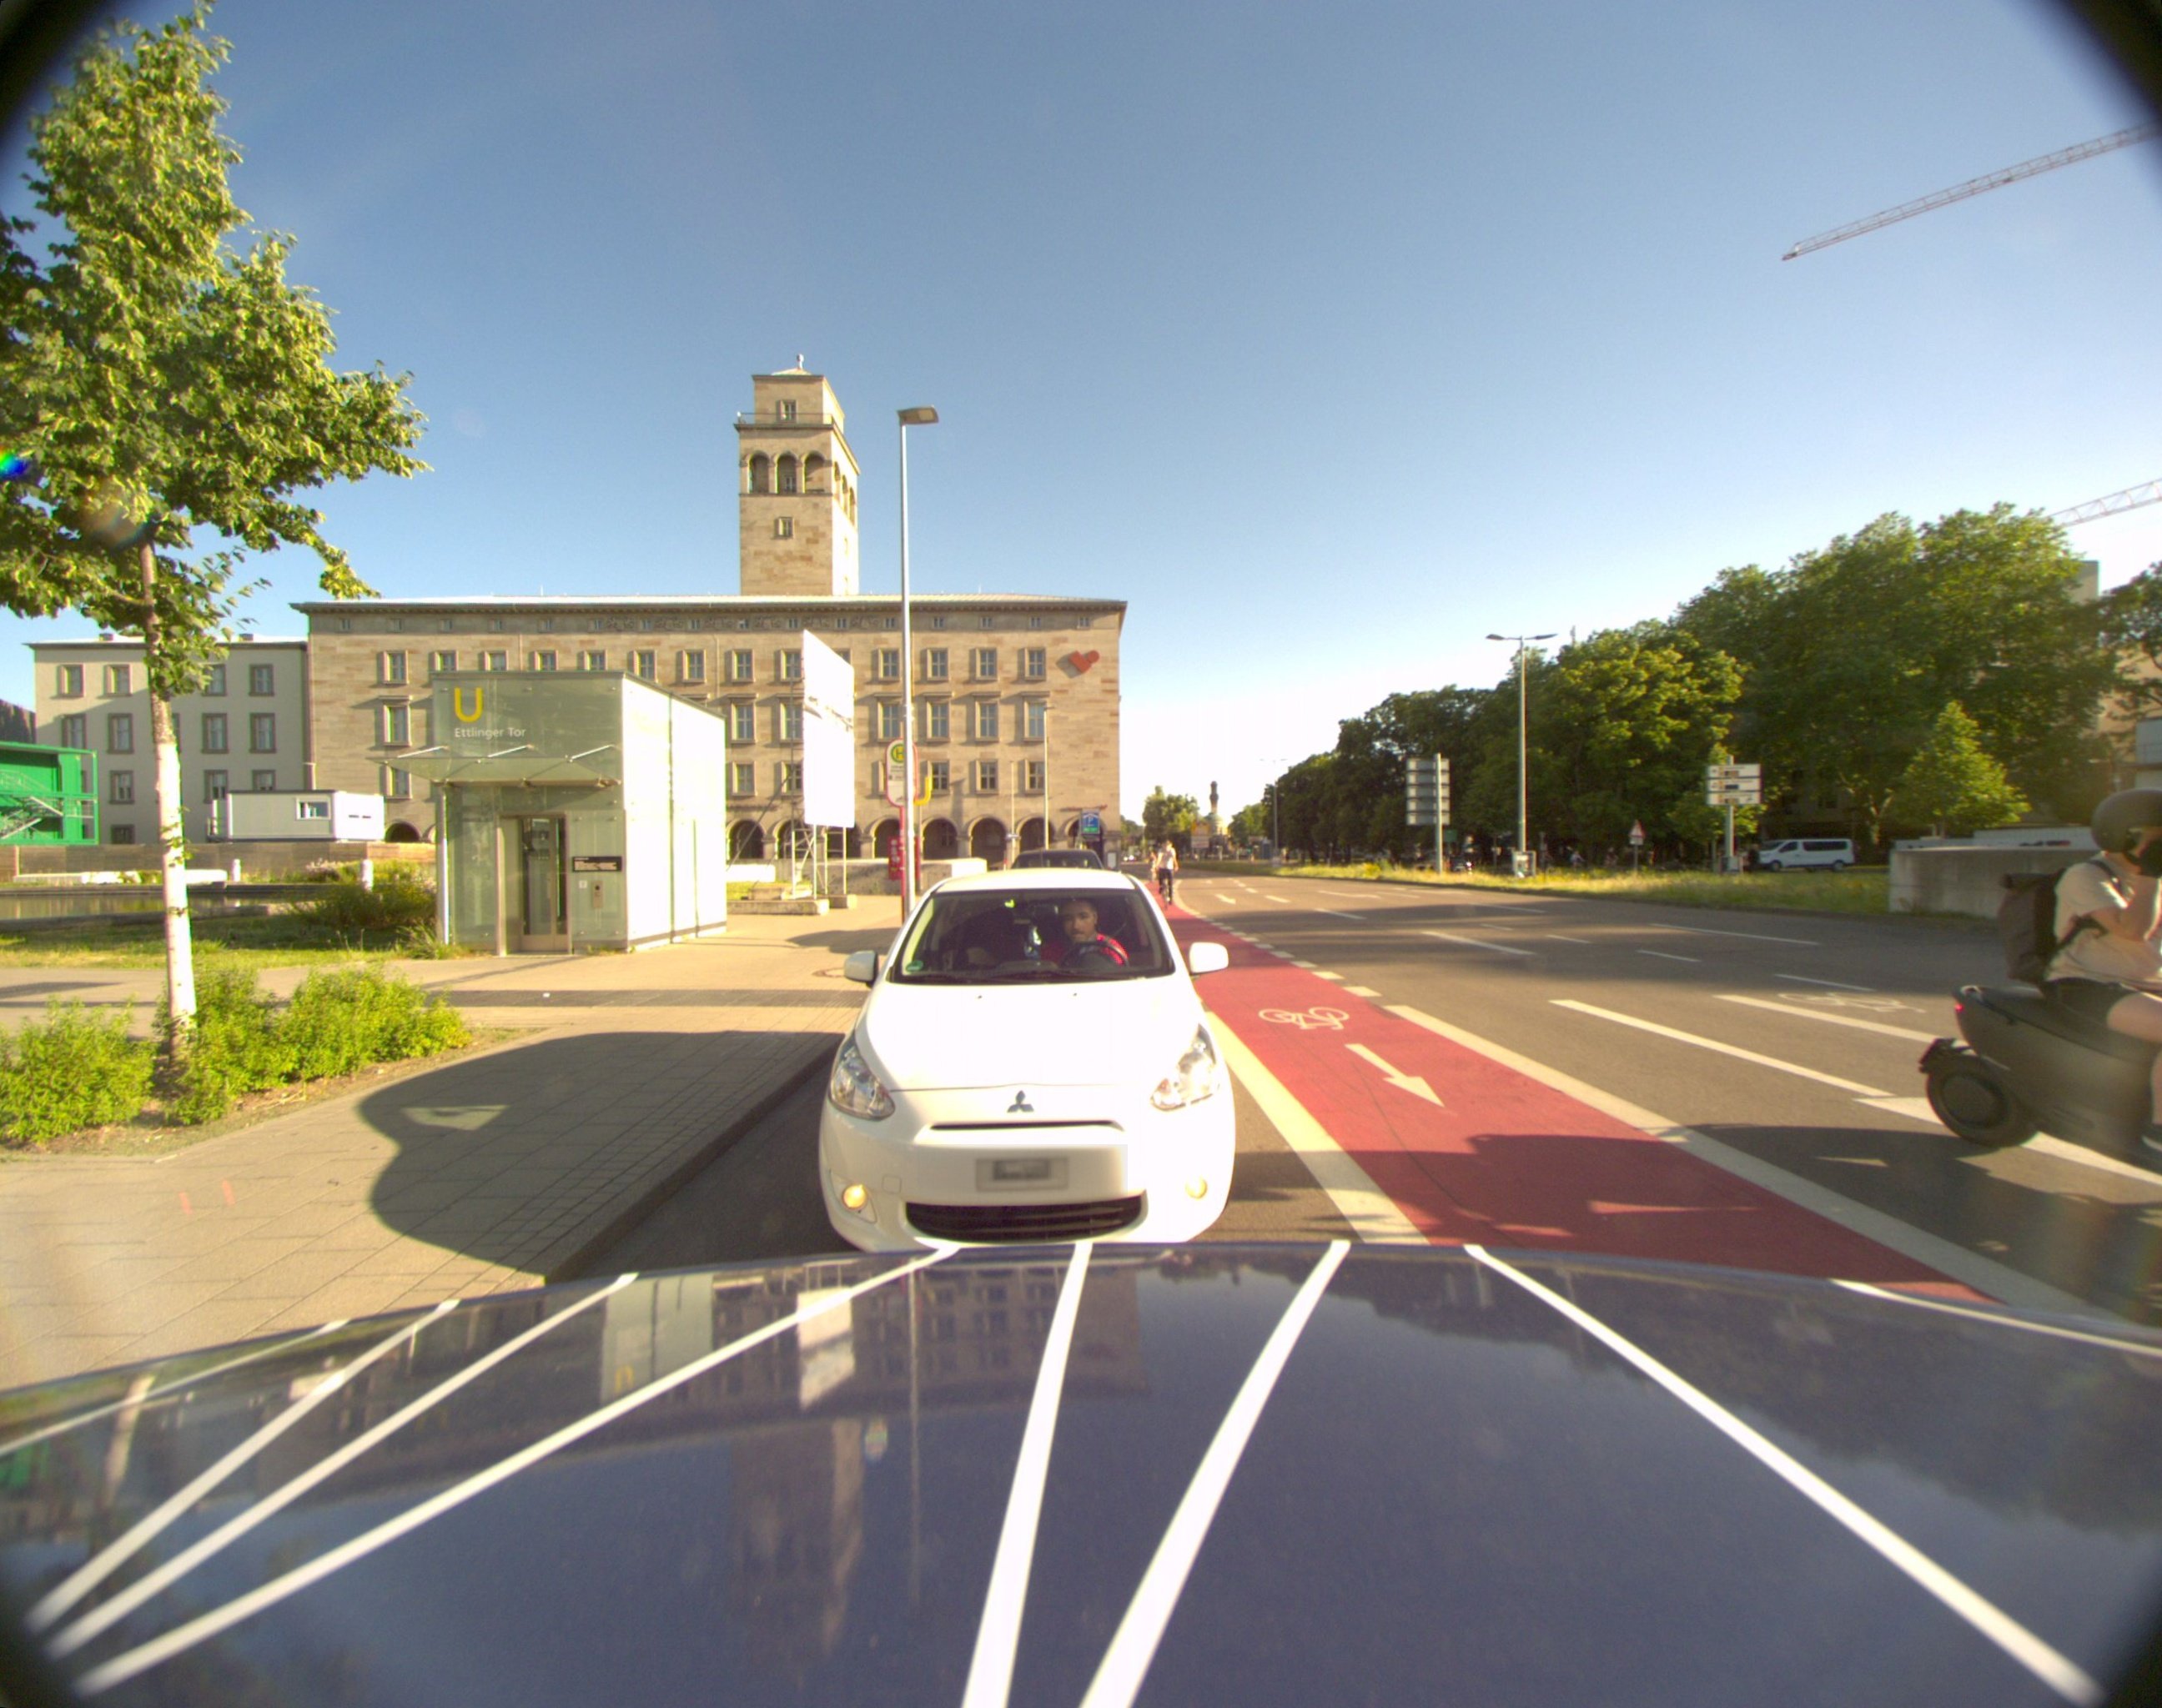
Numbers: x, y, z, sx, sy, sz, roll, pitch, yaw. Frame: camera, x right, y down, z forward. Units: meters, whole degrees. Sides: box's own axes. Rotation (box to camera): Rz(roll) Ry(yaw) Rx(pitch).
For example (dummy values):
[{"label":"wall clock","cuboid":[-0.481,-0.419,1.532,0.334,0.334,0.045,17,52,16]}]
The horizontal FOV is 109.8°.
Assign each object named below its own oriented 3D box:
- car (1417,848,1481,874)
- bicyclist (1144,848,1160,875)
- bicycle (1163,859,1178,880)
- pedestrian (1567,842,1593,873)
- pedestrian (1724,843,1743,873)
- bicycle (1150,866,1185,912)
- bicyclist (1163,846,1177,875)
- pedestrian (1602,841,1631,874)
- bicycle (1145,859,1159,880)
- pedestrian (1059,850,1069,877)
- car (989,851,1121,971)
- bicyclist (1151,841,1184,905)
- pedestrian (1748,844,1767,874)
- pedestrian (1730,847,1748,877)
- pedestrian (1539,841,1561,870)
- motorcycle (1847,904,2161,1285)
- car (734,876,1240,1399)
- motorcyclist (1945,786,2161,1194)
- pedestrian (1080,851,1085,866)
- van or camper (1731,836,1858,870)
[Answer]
[{"label":"car","cuboid":[21.704,0.379,44.998,1.881,1.472,3.980,-1,0,1]},{"label":"bicyclist","cuboid":[4.061,0.418,43.634,0.824,1.568,0.877,-1,1,1]},{"label":"bicycle","cuboid":[5.081,0.871,43.206,0.689,1.185,1.506,-1,1,1]},{"label":"pedestrian","cuboid":[32.840,0.222,50.014,0.951,1.952,1.058,-2,1,-14]},{"label":"pedestrian","cuboid":[32.612,0.205,37.967,0.499,1.502,0.494,-1,1,1]},{"label":"bicycle","cuboid":[2.335,0.934,20.696,0.741,1.140,1.890,-1,0,1]},{"label":"bicyclist","cuboid":[5.065,0.375,43.137,0.674,1.649,0.877,-1,1,1]},{"label":"pedestrian","cuboid":[32.860,0.188,46.636,1.126,1.952,0.815,-2,1,1]},{"label":"bicycle","cuboid":[4.074,0.881,43.537,0.689,1.185,1.506,-1,1,1]},{"label":"pedestrian","cuboid":[-1.039,0.579,46.915,0.552,1.692,0.553,-1,1,-1]},{"label":"car","cuboid":[-0.341,0.795,12.665,1.833,1.660,4.000,-1,0,1]},{"label":"bicyclist","cuboid":[2.354,0.504,20.759,0.807,1.690,0.852,-1,1,1]},{"label":"pedestrian","cuboid":[34.104,0.231,38.313,0.499,1.502,0.494,-1,1,1]},{"label":"pedestrian","cuboid":[33.193,0.386,38.323,0.499,1.502,0.494,-1,1,1]},{"label":"pedestrian","cuboid":[33.118,0.118,53.657,0.841,2.002,0.955,-3,1,-25]},{"label":"motorcycle","cuboid":[4.270,0.898,2.863,0.828,1.273,1.944,-1,0,1]},{"label":"car","cuboid":[-0.257,0.927,4.308,1.519,1.447,4.000,-1,0,1]},{"label":"motorcyclist","cuboid":[4.267,0.479,2.950,0.824,1.455,0.877,-1,1,1]},{"label":"pedestrian","cuboid":[0.189,0.604,106.366,0.612,2.002,0.727,-2,1,0]},{"label":"van or camper","cuboid":[42.236,-0.048,45.062,5.499,1.934,1.951,-1,0,4]}]
